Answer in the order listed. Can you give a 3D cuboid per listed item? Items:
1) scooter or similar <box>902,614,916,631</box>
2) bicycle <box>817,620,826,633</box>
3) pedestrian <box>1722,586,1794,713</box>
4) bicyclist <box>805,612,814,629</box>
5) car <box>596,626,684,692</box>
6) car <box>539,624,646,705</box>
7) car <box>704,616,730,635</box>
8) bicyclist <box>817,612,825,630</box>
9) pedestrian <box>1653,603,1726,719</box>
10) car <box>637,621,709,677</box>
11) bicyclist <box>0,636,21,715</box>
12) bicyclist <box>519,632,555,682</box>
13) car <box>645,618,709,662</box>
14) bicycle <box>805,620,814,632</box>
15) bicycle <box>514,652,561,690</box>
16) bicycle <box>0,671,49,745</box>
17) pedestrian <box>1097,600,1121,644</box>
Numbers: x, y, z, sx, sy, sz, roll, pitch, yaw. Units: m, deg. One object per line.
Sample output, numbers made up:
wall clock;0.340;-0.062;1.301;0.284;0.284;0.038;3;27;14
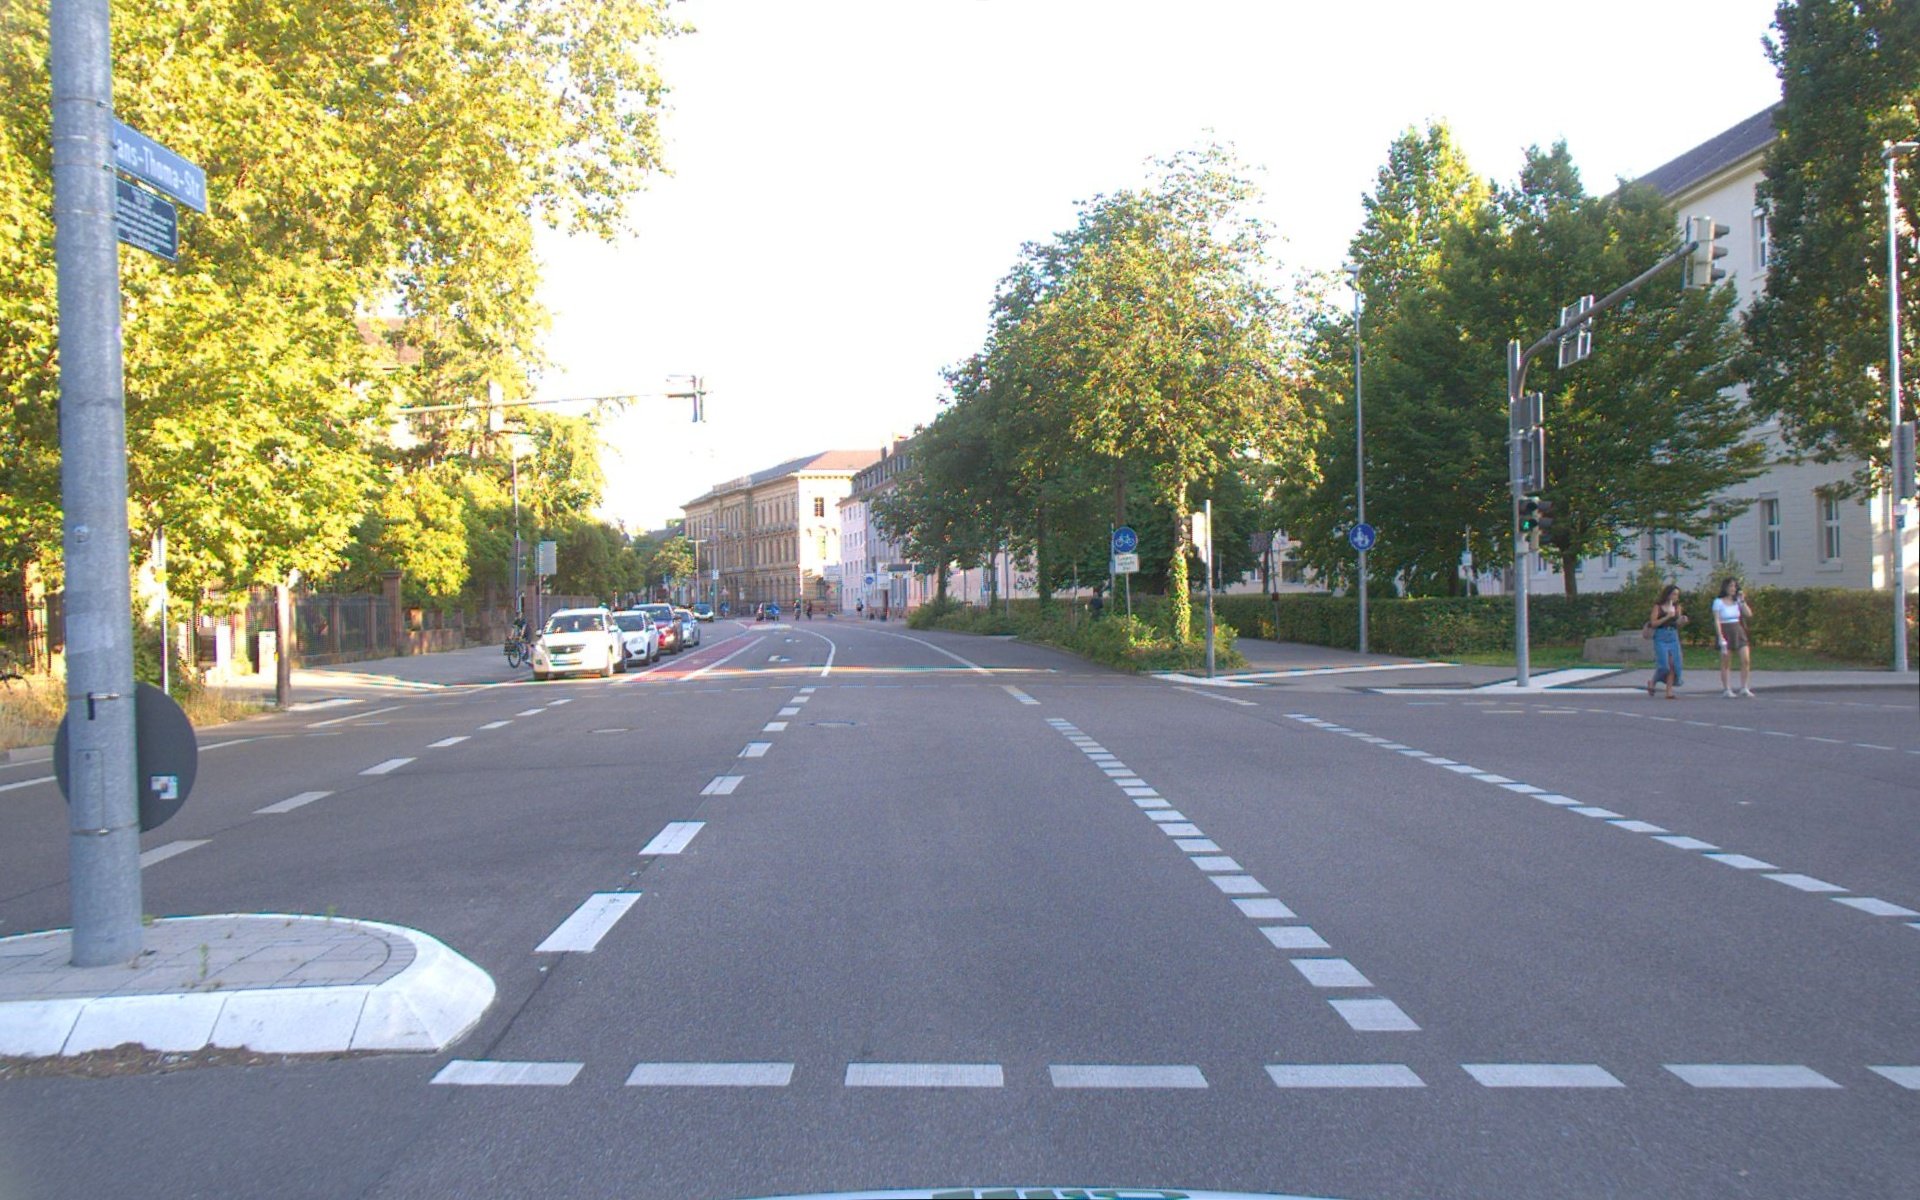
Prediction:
scooter or similar;-4.190;1.854;135.447;0.619;1.360;2.391;-1;-1;-14
bicycle;-11.896;2.249;141.646;0.639;1.033;2.194;1;-1;-8
pedestrian;11.553;0.704;23.963;0.667;1.784;0.688;-1;0;-1
bicyclist;-12.916;1.745;142.089;0.640;1.471;0.877;1;-1;-9
car;-9.013;1.626;46.891;1.879;1.611;4.669;-3;0;-5
car;-8.854;1.510;40.161;1.879;1.725;4.422;-3;0;-5
car;-21.152;2.194;143.988;1.817;1.553;3.985;-3;0;-14
bicyclist;-11.894;1.816;141.656;0.640;1.501;0.939;1;-1;-8
pedestrian;10.697;0.879;24.275;0.667;1.650;0.845;-1;0;-1
car;-9.519;1.596;55.171;1.879;1.653;4.634;-3;0;-5
bicyclist;-17.077;1.338;29.216;0.828;1.385;0.567;-1;-1;-31
bicyclist;-12.796;1.714;50.036;0.838;1.456;0.943;-1;0;-1
car;-10.542;1.447;61.861;1.879;1.442;4.765;-3;0;-5
bicycle;-12.910;2.231;141.970;0.640;1.033;2.193;1;-1;-9
bicycle;-12.779;2.141;50.090;0.838;1.033;2.197;-1;0;-1
bicycle;-17.031;1.914;29.204;1.611;1.251;0.567;-1;0;-32
pedestrian;6.173;0.906;68.522;0.756;1.769;0.805;-1;0;-10
